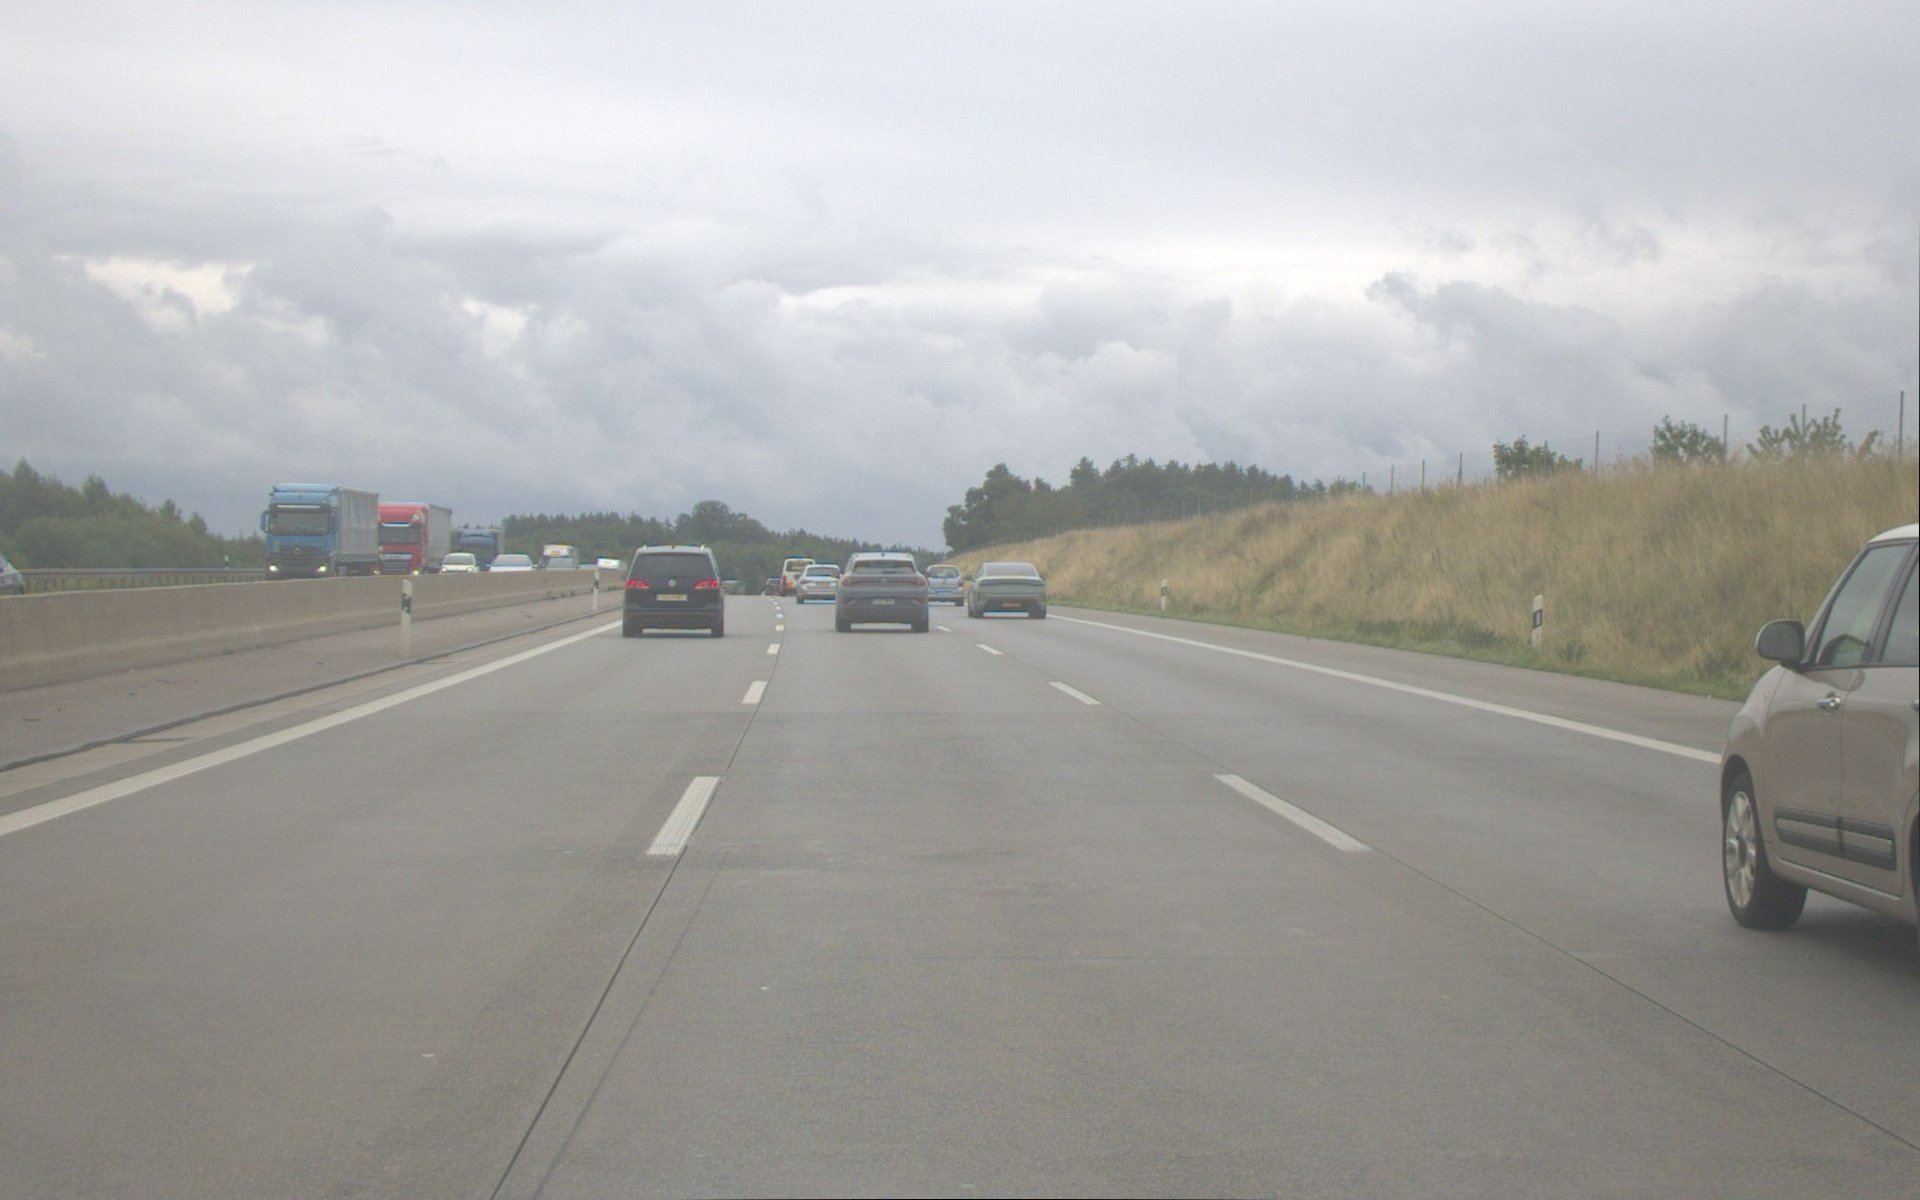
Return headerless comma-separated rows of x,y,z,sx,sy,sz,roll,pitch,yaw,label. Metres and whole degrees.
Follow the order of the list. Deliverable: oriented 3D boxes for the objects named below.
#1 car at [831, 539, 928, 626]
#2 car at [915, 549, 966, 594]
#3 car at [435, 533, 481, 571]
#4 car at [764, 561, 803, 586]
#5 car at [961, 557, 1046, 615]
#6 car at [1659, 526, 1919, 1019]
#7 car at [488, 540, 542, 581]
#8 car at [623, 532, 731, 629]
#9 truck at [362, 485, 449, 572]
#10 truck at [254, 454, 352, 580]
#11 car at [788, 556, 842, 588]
-1.687,-0.391,70.627,1.898,1.684,5.267,1,1,-2,car
-0.700,-1.011,121.401,1.485,1.465,3.505,3,1,-4,car
-22.650,-2.167,155.197,1.614,1.645,4.295,1,1,-3,car
-9.023,-1.363,176.080,1.797,1.217,4.000,1,1,0,car
1.098,-0.385,89.635,2.014,1.441,4.745,1,1,-2,car
3.982,0.549,12.572,1.785,1.599,4.571,1,1,-2,car
-17.862,-1.610,138.177,1.698,1.609,4.720,1,1,-2,car
-5.260,-0.384,64.246,1.785,1.741,3.915,1,1,-2,car
-27.345,-3.499,169.862,3.469,4.168,6.494,1,1,-3,truck
-24.963,-3.134,130.754,2.927,4.660,5.233,1,1,-3,truck
-5.309,-1.021,126.160,1.797,1.119,4.000,1,1,0,car
